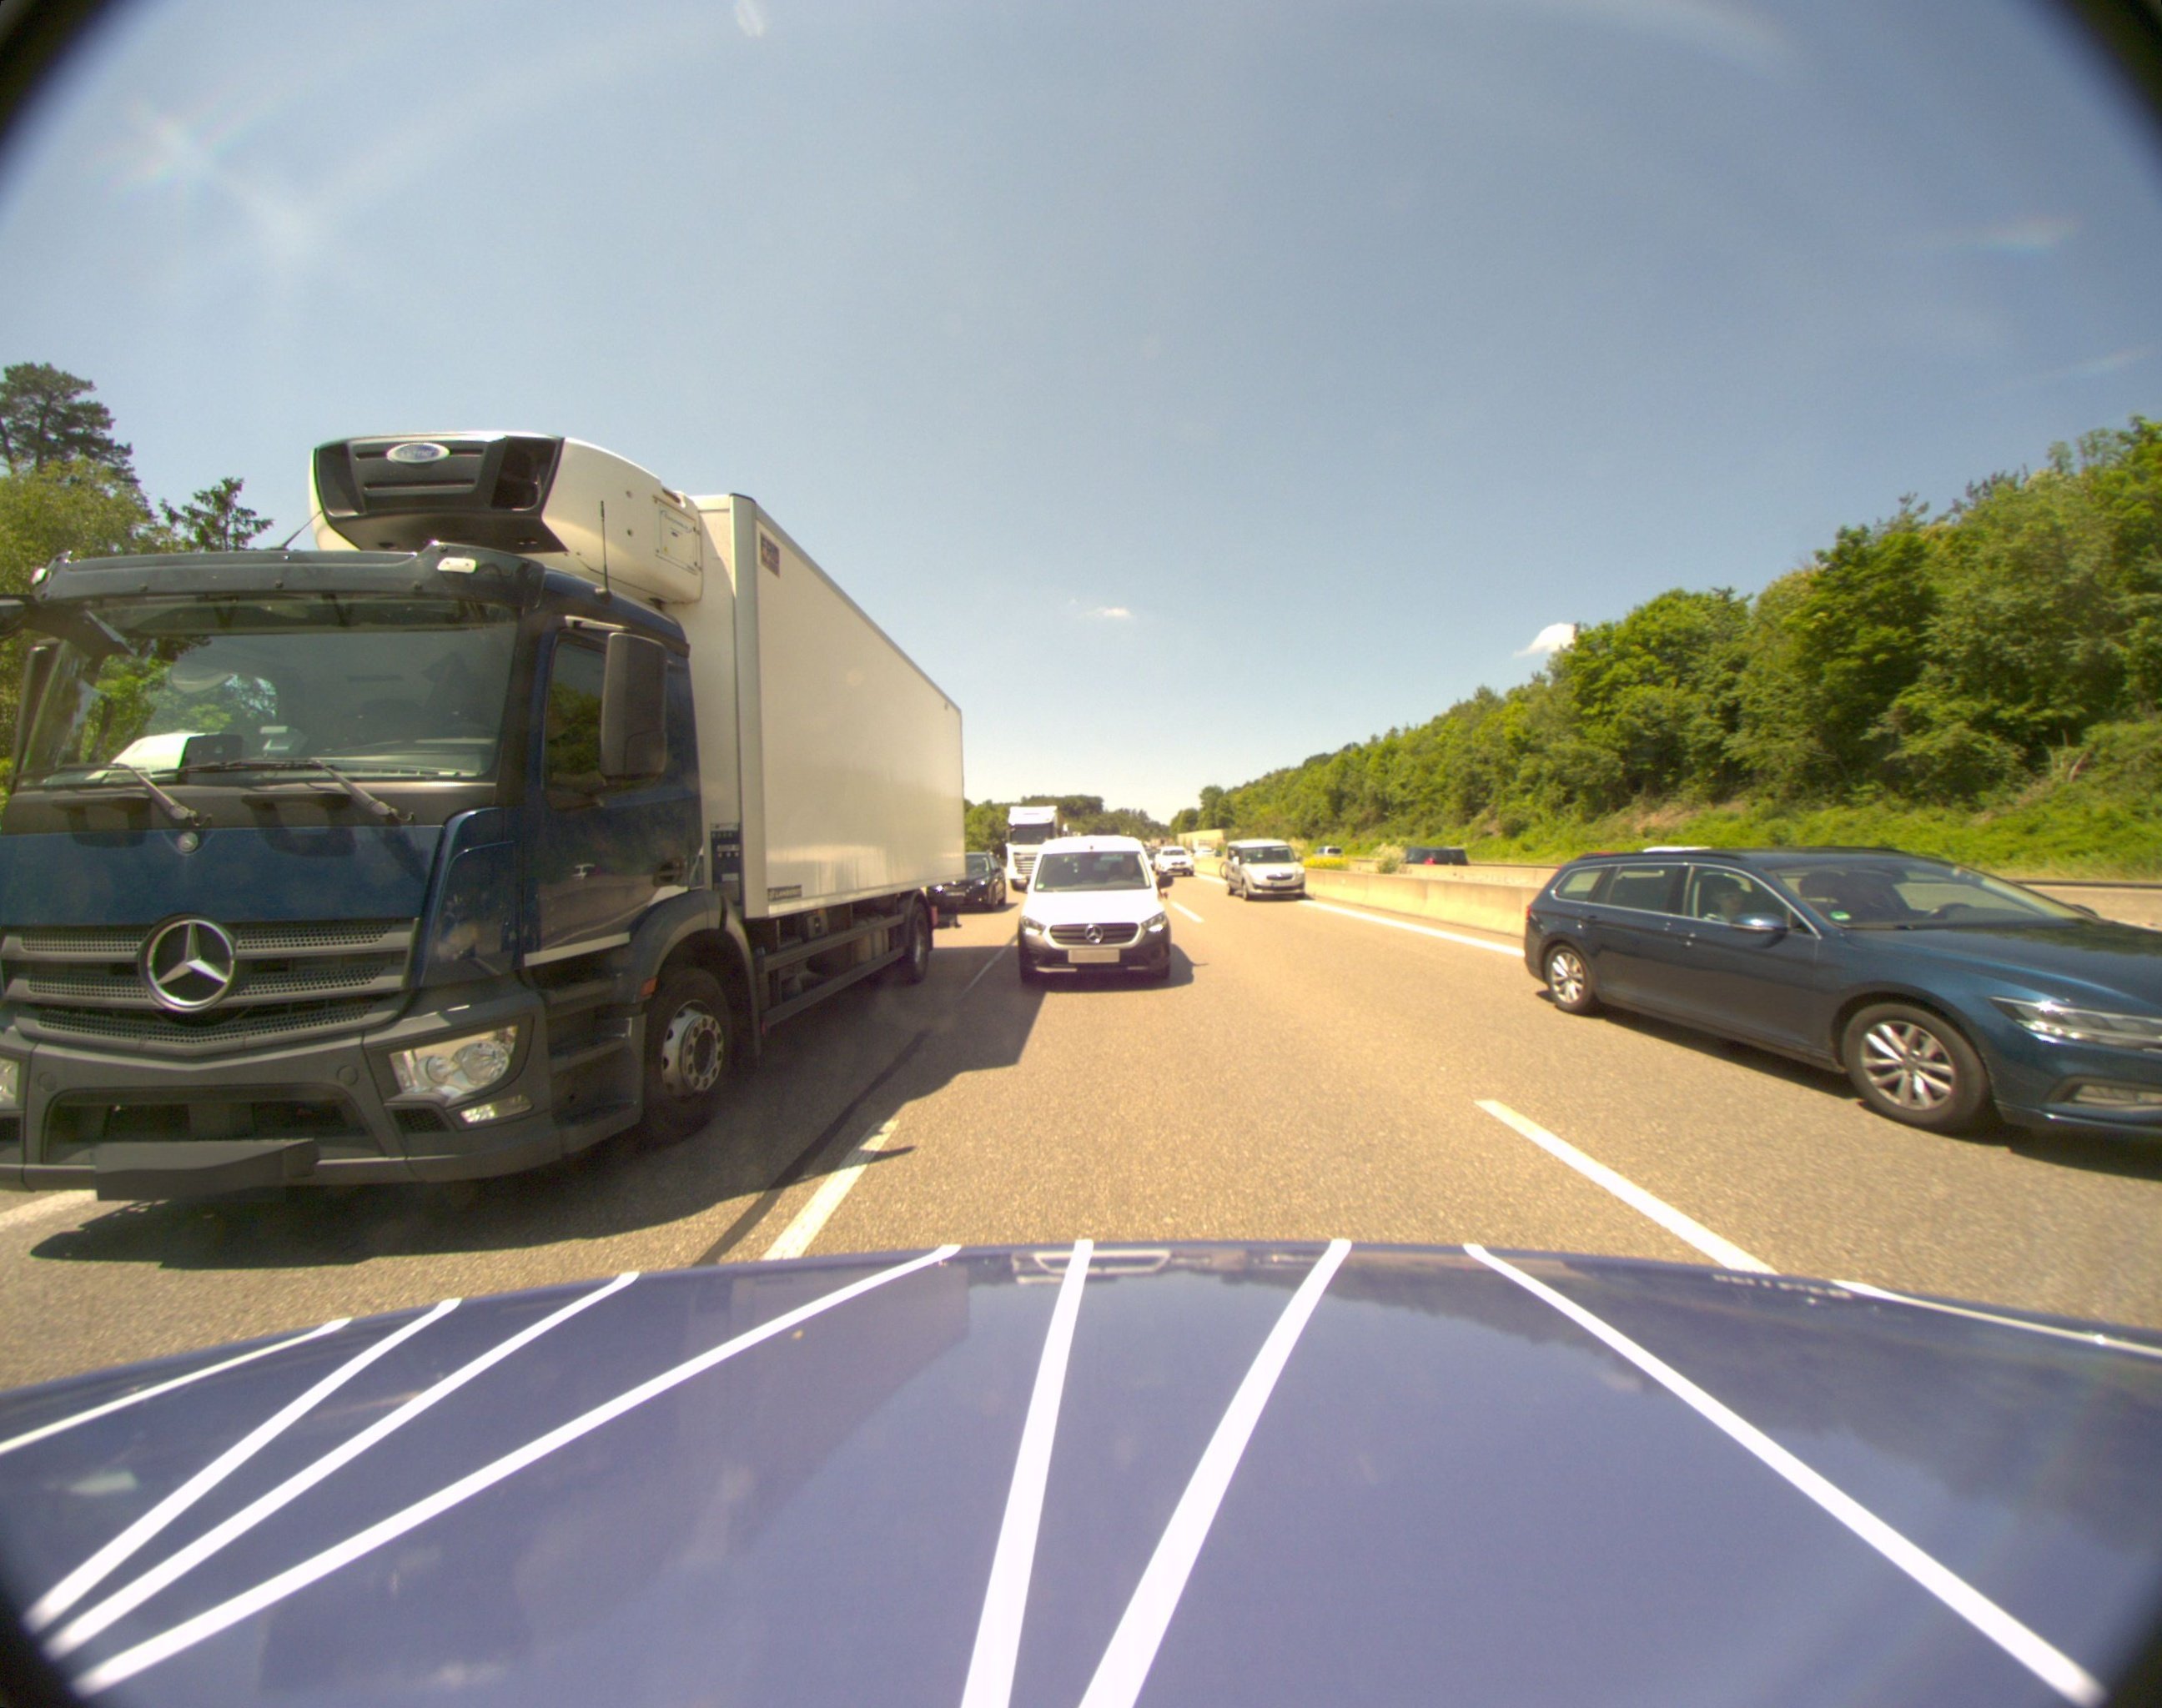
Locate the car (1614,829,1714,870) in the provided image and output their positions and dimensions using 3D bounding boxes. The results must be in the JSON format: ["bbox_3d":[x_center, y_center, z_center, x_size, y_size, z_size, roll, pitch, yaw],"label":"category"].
[{"bbox_3d":[31.368,-0.300,41.042,2.128,2.002,4.363,-2,2,2],"label":"car"}]

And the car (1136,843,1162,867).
[{"bbox_3d":[5.985,0.093,67.106,1.998,2.001,4.001,0,-1,2],"label":"car"}]

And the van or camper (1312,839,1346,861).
[{"bbox_3d":[24.764,-0.420,75.947,1.998,2.002,4.680,-2,2,2],"label":"van or camper"}]

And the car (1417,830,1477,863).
[{"bbox_3d":[24.005,-0.535,49.997,1.998,2.002,4.472,-2,2,4],"label":"car"}]

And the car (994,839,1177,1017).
[{"bbox_3d":[0.117,0.703,9.711,1.756,1.681,4.363,-2,2,2],"label":"car"}]

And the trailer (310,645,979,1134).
[{"bbox_3d":[-3.174,0.188,8.525,2.562,2.882,7.882,-2,1,3],"label":"trailer"}]

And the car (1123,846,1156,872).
[{"bbox_3d":[4.248,0.348,55.743,1.999,1.747,3.998,-2,2,0],"label":"car"}]

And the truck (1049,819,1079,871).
[{"bbox_3d":[-1.485,-0.805,71.285,2.394,4.438,10.868,-2,0,0],"label":"truck"}]

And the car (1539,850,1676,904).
[{"bbox_3d":[19.504,0.775,28.451,1.998,1.682,4.512,-2,2,0],"label":"car"}]

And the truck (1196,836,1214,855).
[{"bbox_3d":[27.110,-1.999,166.934,2.699,3.967,7.988,-2,2,1],"label":"truck"}]

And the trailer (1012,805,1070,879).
[{"bbox_3d":[-2.292,-0.819,48.006,2.766,4.061,11.614,0,2,1],"label":"trailer"}]

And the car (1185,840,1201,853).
[{"bbox_3d":[18.196,-1.184,123.906,1.998,2.002,3.999,-2,2,0],"label":"car"}]

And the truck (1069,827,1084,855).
[{"bbox_3d":[-0.629,-1.867,117.590,2.187,4.073,10.868,-2,0,0],"label":"truck"}]

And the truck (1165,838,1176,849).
[{"bbox_3d":[23.814,-2.789,202.393,2.183,2.868,6.740,-2,2,1],"label":"truck"}]

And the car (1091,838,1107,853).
[{"bbox_3d":[2.624,-1.291,111.072,1.999,2.002,3.998,-2,2,-1],"label":"car"}]

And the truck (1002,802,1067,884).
[{"bbox_3d":[-2.412,-0.649,41.768,2.766,4.061,7.333,-2,2,2],"label":"truck"}]

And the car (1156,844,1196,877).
[{"bbox_3d":[5.419,0.330,43.646,1.824,1.696,3.999,-2,2,1],"label":"car"}]

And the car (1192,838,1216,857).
[{"bbox_3d":[13.829,-0.736,85.319,1.998,2.002,4.192,-2,2,1],"label":"car"}]

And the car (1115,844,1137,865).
[{"bbox_3d":[4.669,0.041,79.027,1.999,2.002,3.999,-2,0,-1],"label":"car"}]

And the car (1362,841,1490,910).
[{"bbox_3d":[11.622,0.629,26.028,1.999,2.002,5.153,-2,2,0],"label":"car"}]

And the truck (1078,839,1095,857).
[{"bbox_3d":[1.376,-1.507,190.569,4.084,4.403,11.396,-2,0,0],"label":"truck"}]

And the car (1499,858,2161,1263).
[{"bbox_3d":[4.998,0.782,5.085,1.879,1.441,4.678,-2,0,1],"label":"car"}]

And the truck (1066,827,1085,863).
[{"bbox_3d":[-0.675,-1.094,99.079,2.187,4.438,10.868,-2,0,0],"label":"truck"}]

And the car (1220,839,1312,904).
[{"bbox_3d":[5.686,0.446,23.920,1.857,1.762,4.917,-2,2,2],"label":"car"}]

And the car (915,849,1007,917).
[{"bbox_3d":[-3.339,0.744,22.083,1.999,1.682,4.609,0,2,-1],"label":"car"}]

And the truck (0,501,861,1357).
[{"bbox_3d":[-3.345,0.249,4.683,2.562,2.924,4.103,-1,2,2],"label":"truck"}]

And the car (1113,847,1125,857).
[{"bbox_3d":[6.534,-0.302,131.545,1.802,1.660,4.000,-2,0,0],"label":"car"}]

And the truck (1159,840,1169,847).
[{"bbox_3d":[24.976,-3.213,228.634,2.357,2.002,6.490,-2,2,0],"label":"truck"}]

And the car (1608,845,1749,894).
[{"bbox_3d":[23.290,0.536,29.891,1.998,1.682,4.512,-2,2,0],"label":"car"}]

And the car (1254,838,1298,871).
[{"bbox_3d":[12.760,-0.030,50.001,1.998,2.002,4.347,-2,2,3],"label":"car"}]
